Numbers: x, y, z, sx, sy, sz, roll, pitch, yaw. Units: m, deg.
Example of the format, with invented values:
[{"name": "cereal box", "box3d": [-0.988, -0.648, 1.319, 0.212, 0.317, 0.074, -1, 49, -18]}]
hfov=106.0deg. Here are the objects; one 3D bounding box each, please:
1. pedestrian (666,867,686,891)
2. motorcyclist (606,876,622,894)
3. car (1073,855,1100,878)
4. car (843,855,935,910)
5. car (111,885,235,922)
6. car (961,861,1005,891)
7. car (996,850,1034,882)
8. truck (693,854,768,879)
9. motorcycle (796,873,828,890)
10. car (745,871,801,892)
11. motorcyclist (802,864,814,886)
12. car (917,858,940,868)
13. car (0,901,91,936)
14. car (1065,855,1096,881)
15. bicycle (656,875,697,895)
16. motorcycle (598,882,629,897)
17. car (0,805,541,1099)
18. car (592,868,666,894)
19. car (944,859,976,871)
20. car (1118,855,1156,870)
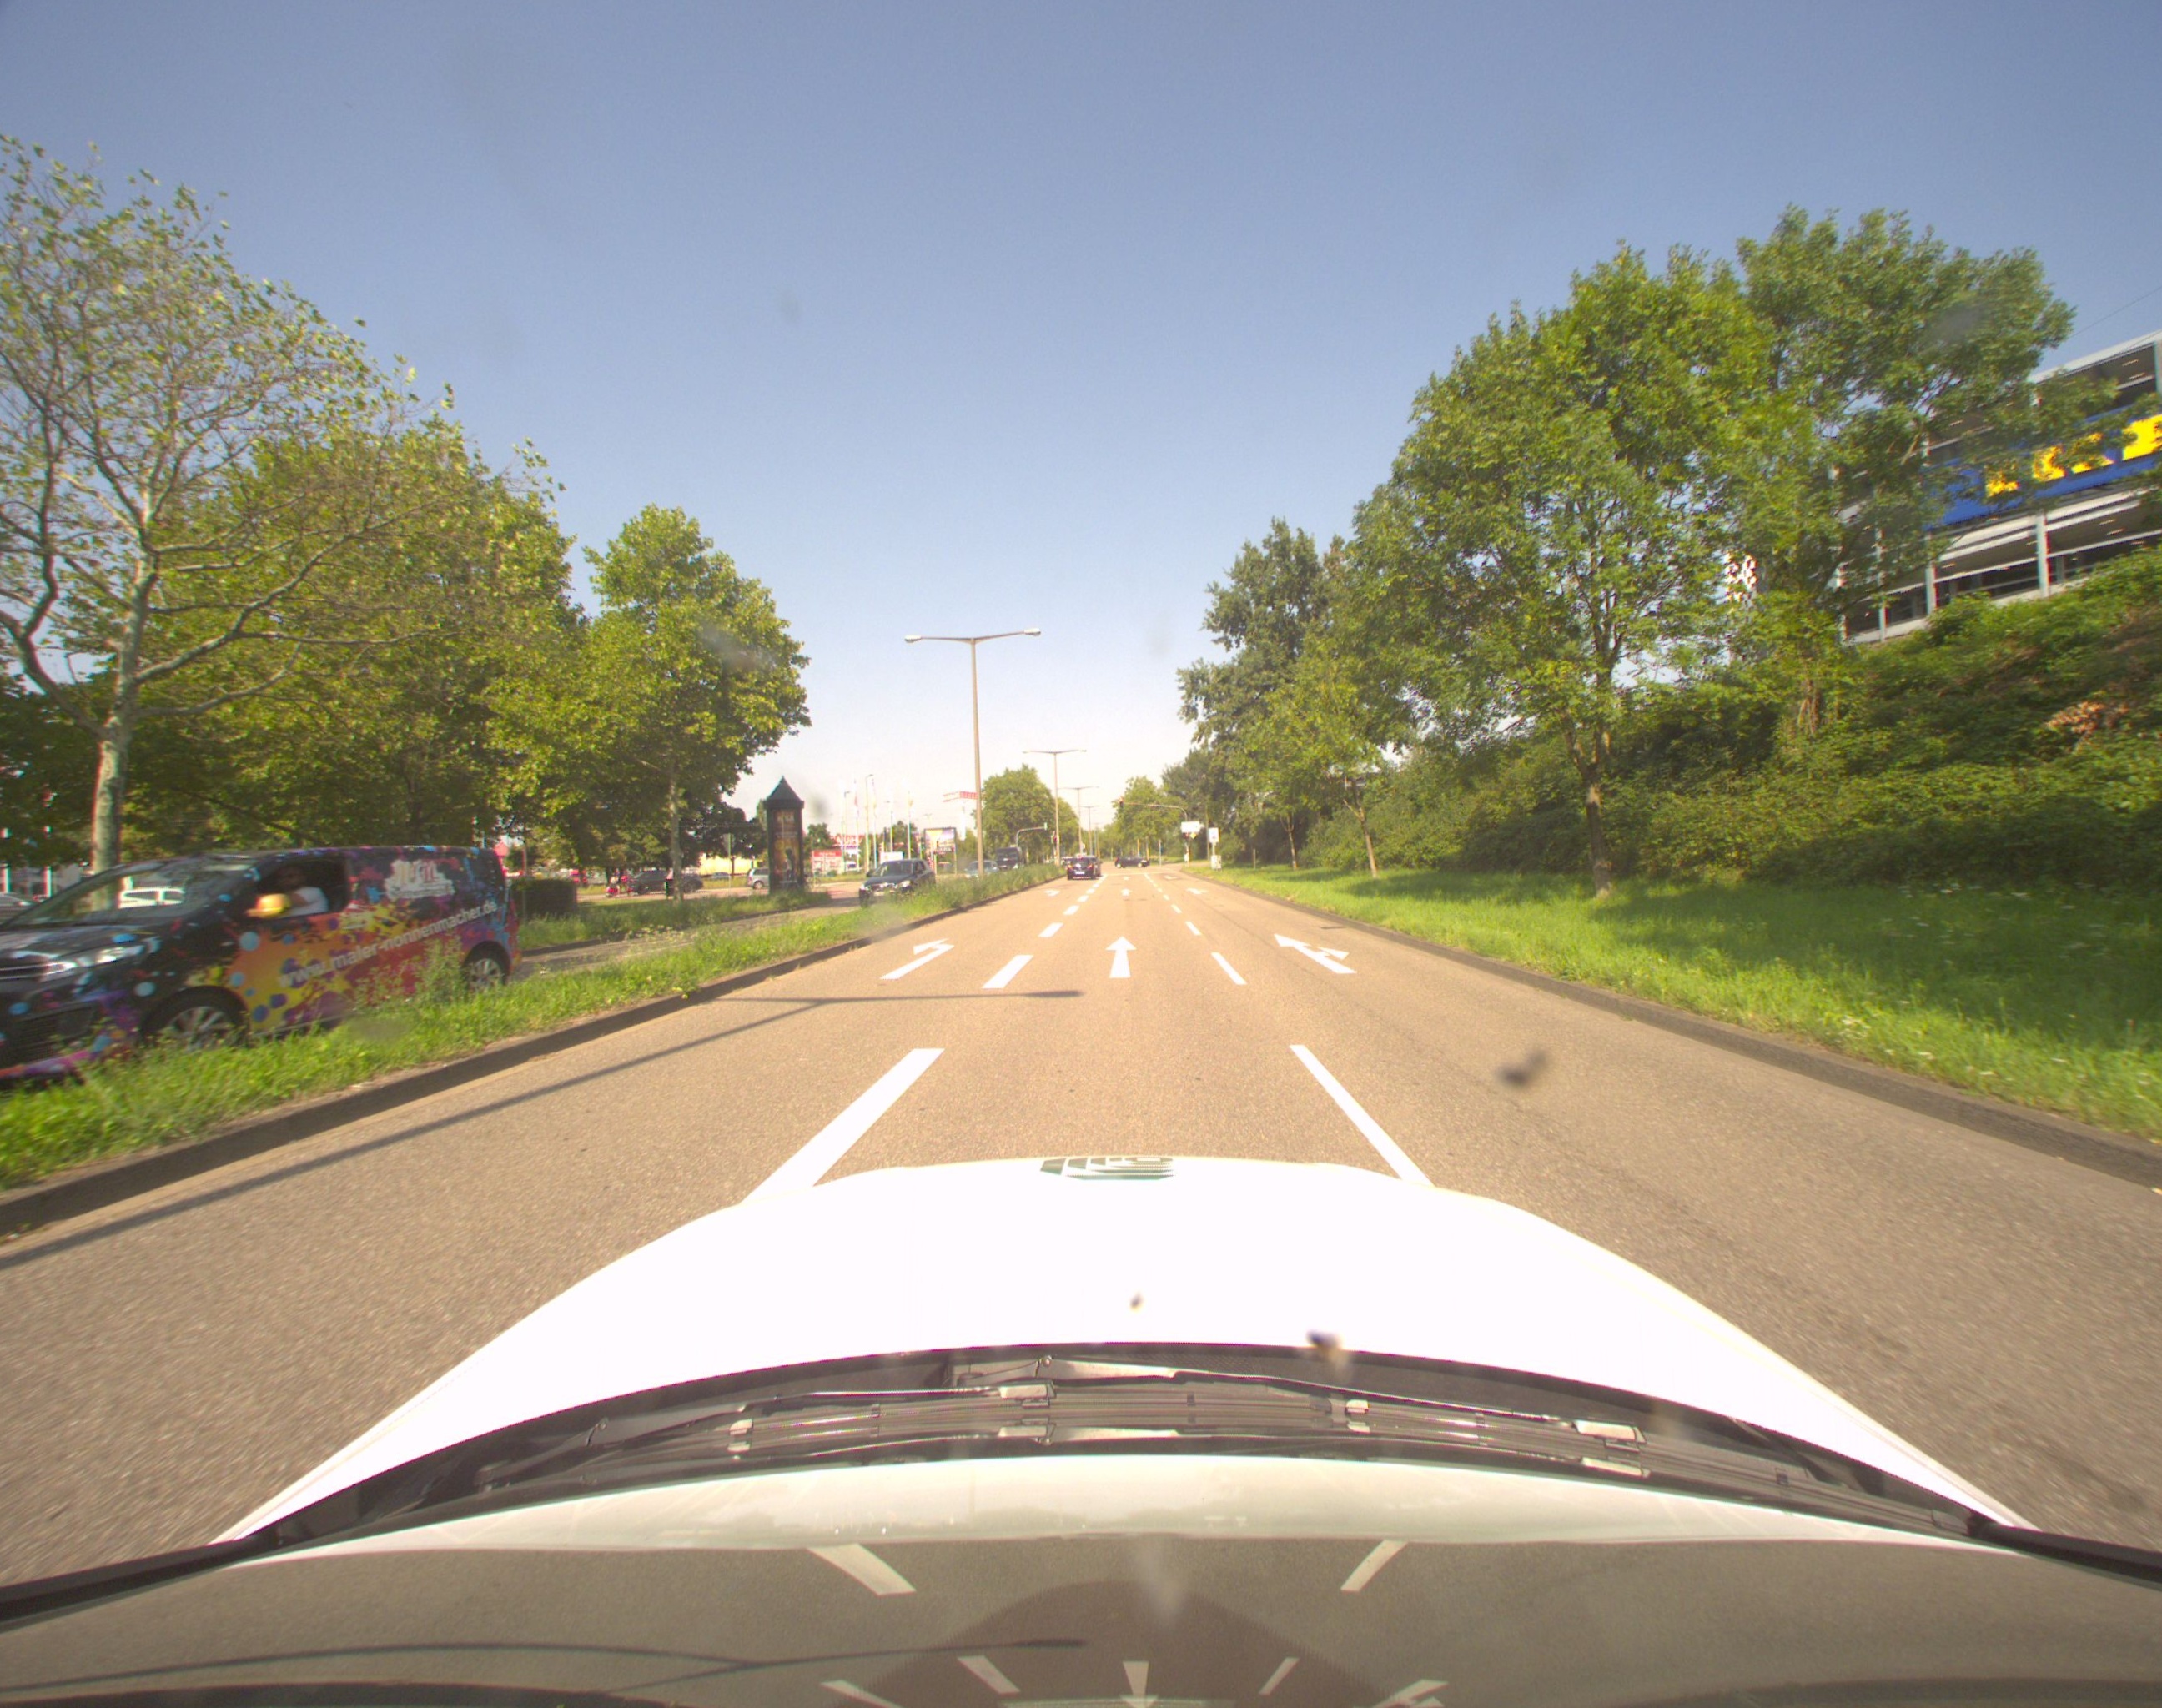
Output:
[{"name": "pedestrian", "box3d": [-27.161, 1.685, 54.620, 1.062, 1.575, 0.859, -1, -1, -33]}, {"name": "motorcyclist", "box3d": [-30.923, 2.061, 53.917, 0.833, 1.178, 0.684, -1, -1, -32]}, {"name": "car", "box3d": [0.436, 0.889, 58.360, 1.685, 1.486, 4.003, -3, 0, 3]}, {"name": "car", "box3d": [-6.683, 0.954, 28.836, 1.986, 1.706, 4.506, -3, -1, 2]}, {"name": "car", "box3d": [-47.806, 2.563, 43.000, 4.016, 1.679, 1.851, -1, -1, -34]}, {"name": "car", "box3d": [-5.598, 1.220, 46.782, 1.765, 1.574, 4.004, -2, -1, 3]}, {"name": "car", "box3d": [-5.147, 0.910, 64.652, 2.103, 2.333, 6.287, -2, -1, 3]}, {"name": "truck", "box3d": [-48.267, 1.664, 112.263, 9.048, 2.958, 3.478, -3, 0, -33]}, {"name": "motorcycle", "box3d": [-19.637, 1.992, 59.530, 2.083, 1.136, 0.670, -2, -1, -33]}, {"name": "car", "box3d": [-22.959, 2.029, 60.758, 3.716, 1.443, 1.451, -1, -1, -33]}, {"name": "motorcyclist", "box3d": [-19.902, 1.504, 59.380, 0.686, 1.572, 0.676, -1, -1, -33]}, {"name": "car", "box3d": [-31.387, 1.863, 167.552, 1.974, 2.014, 4.318, -2, -1, 38]}, {"name": "car", "box3d": [-53.162, 3.266, 40.851, 4.015, 1.545, 1.821, -3, 0, -32]}, {"name": "car", "box3d": [0.029, 0.875, 52.450, 1.685, 1.486, 4.003, -3, 0, 3]}, {"name": "bicycle", "box3d": [-27.136, 2.090, 54.638, 2.369, 1.235, 0.865, -1, -1, -33]}, {"name": "motorcycle", "box3d": [-30.952, 2.349, 53.885, 1.727, 0.945, 0.705, -1, -1, -32]}, {"name": "car", "box3d": [-7.884, 0.723, 7.974, 1.924, 2.027, 4.569, -3, 0, 2]}, {"name": "car", "box3d": [-30.849, 1.823, 55.628, 4.329, 1.579, 1.555, -1, -1, -35]}, {"name": "car", "box3d": [-14.348, 1.316, 96.746, 3.353, 1.136, 1.498, -5, 0, 11]}, {"name": "car", "box3d": [6.212, 0.890, 90.001, 3.933, 1.533, 1.830, -2, -1, 15]}]
